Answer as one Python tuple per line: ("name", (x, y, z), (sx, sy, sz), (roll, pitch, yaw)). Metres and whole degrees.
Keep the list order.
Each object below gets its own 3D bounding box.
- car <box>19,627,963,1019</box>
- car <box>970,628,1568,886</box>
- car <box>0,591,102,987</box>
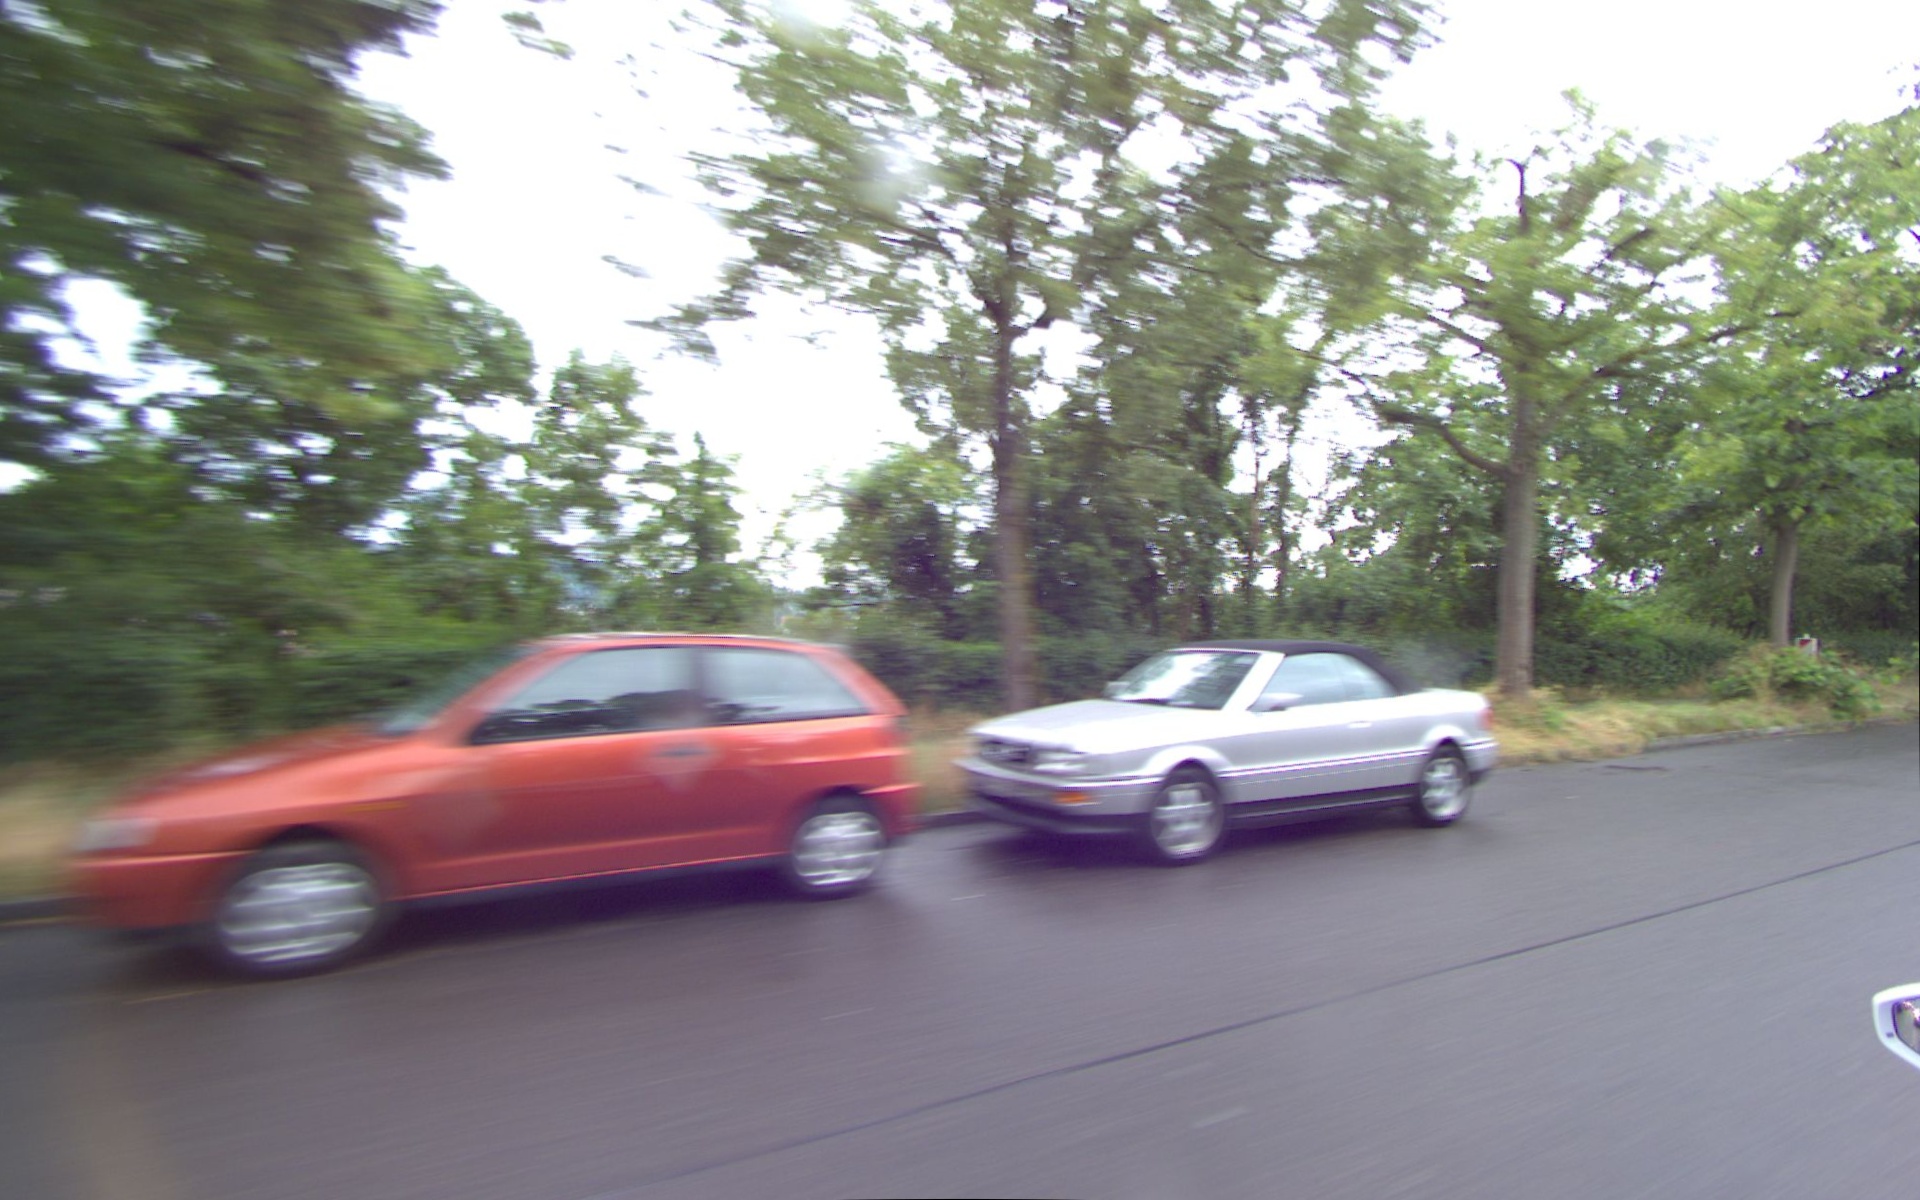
("car", (-2.075, 0.869, 5.319), (3.957, 1.380, 1.586), (2, -2, -33))
("car", (2.407, 0.976, 7.580), (4.364, 1.420, 1.748), (0, -3, -29))
("car", (-5.841, 0.723, 3.036), (4.662, 1.423, 1.983), (-1, -1, -33))
